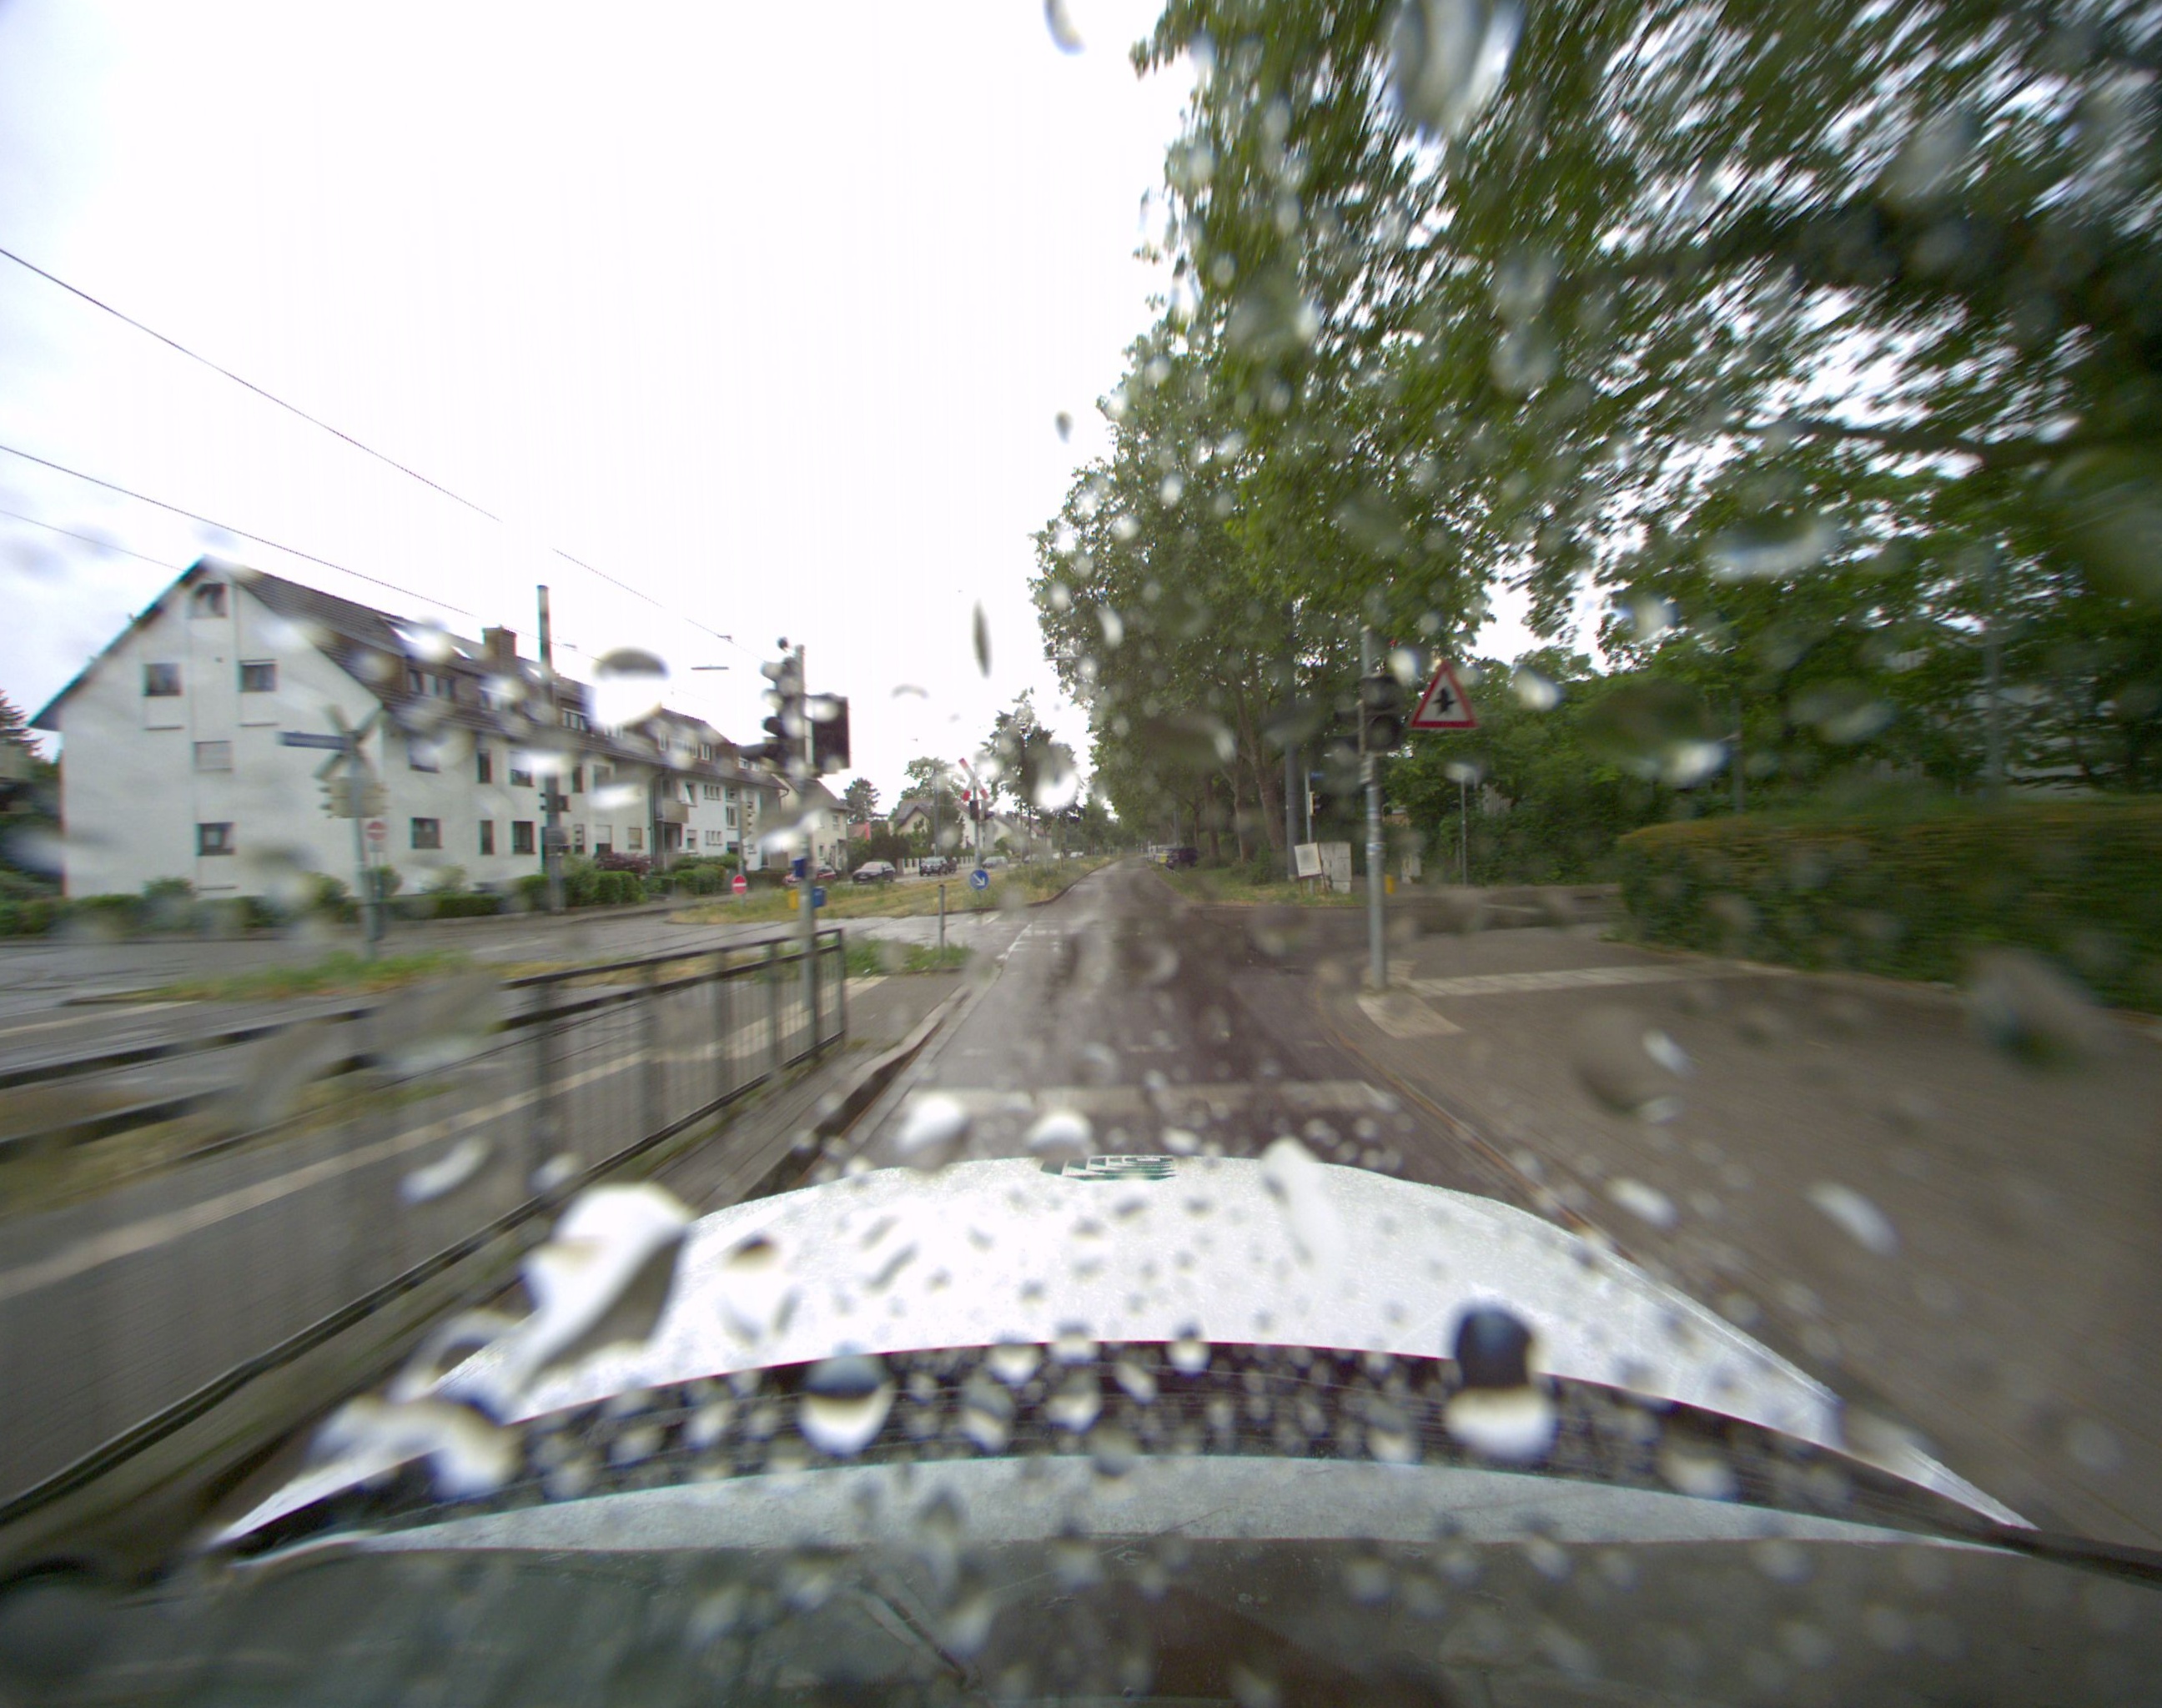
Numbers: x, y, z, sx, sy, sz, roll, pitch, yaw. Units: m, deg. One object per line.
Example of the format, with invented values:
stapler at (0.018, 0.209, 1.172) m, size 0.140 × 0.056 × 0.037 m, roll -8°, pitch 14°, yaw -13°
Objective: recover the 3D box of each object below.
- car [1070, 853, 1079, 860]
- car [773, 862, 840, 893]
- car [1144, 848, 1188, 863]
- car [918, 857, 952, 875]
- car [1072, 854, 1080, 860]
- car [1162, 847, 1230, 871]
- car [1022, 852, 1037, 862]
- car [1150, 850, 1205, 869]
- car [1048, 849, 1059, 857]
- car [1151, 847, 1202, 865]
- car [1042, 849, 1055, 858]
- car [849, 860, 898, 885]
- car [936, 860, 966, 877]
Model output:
car at (-1.554, 0.558, 196.636) m, size 1.919 × 1.486 × 4.005 m, roll -1°, pitch 0°, yaw 4°
car at (-14.480, 1.215, 43.262) m, size 1.919 × 1.486 × 4.005 m, roll -1°, pitch 0°, yaw 4°
car at (8.502, 0.152, 81.655) m, size 3.992 × 1.453 × 1.991 m, roll -1°, pitch 0°, yaw -14°
car at (-12.709, 1.017, 71.112) m, size 1.919 × 1.486 × 4.005 m, roll -1°, pitch 0°, yaw 4°
car at (-1.271, 0.887, 210.381) m, size 1.919 × 1.486 × 4.005 m, roll -1°, pitch 0°, yaw 4°
car at (7.554, 0.356, 53.543) m, size 3.992 × 1.453 × 1.991 m, roll -1°, pitch 0°, yaw -14°
car at (-8.349, 0.503, 132.272) m, size 1.919 × 1.486 × 4.005 m, roll -1°, pitch 0°, yaw 4°
car at (7.721, 0.455, 65.427) m, size 3.992 × 1.453 × 1.991 m, roll -1°, pitch 0°, yaw -14°
car at (-5.587, -0.196, 166.552) m, size 1.919 × 1.486 × 4.005 m, roll -1°, pitch 0°, yaw 4°
car at (8.357, 0.211, 71.461) m, size 3.992 × 1.453 × 1.991 m, roll -1°, pitch 0°, yaw -14°
car at (-6.217, -0.096, 154.444) m, size 1.919 × 1.486 × 4.005 m, roll -1°, pitch 0°, yaw 4°
car at (-13.768, 1.204, 54.226) m, size 1.919 × 1.486 × 4.005 m, roll -1°, pitch 0°, yaw 4°
car at (-12.453, 1.396, 78.089) m, size 1.919 × 1.486 × 4.005 m, roll -1°, pitch 0°, yaw 4°
